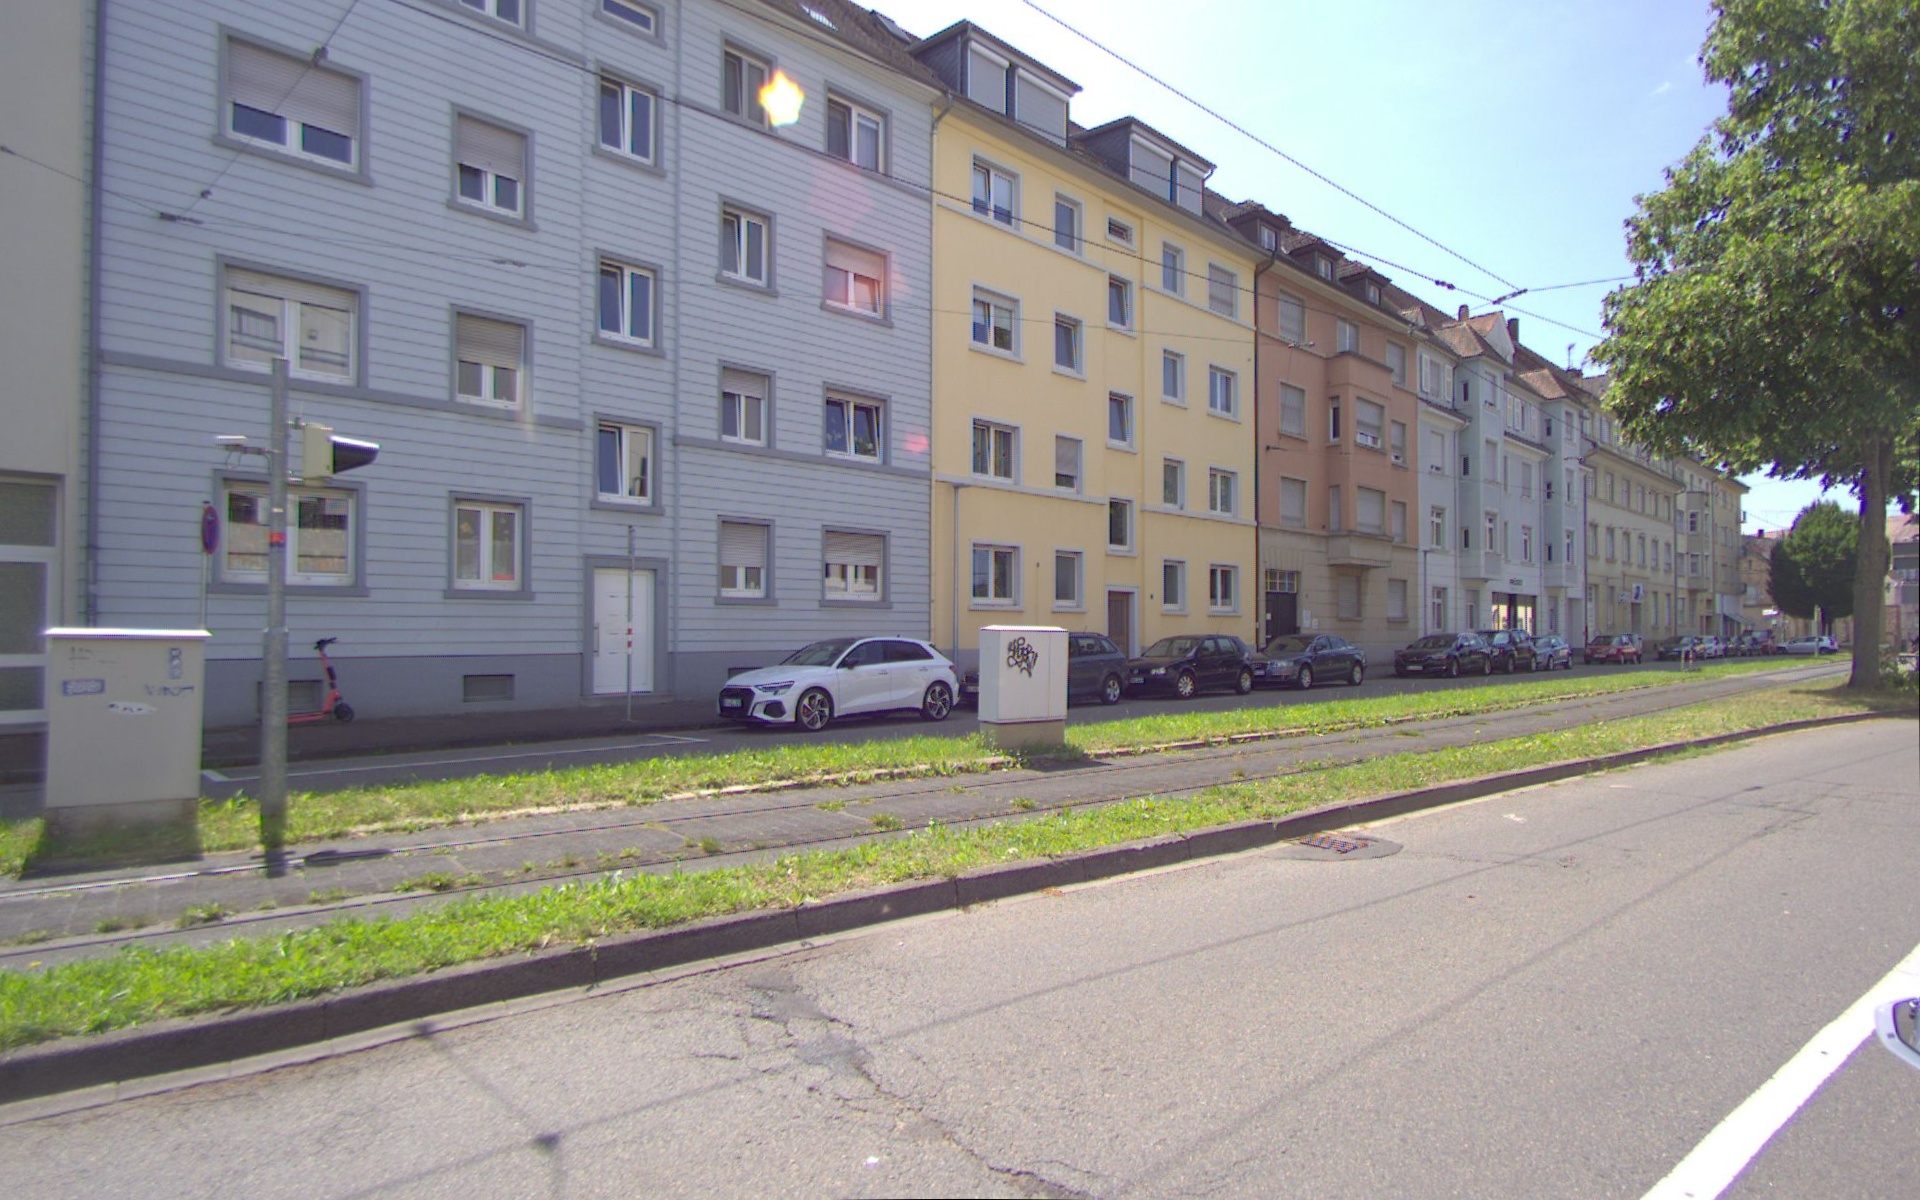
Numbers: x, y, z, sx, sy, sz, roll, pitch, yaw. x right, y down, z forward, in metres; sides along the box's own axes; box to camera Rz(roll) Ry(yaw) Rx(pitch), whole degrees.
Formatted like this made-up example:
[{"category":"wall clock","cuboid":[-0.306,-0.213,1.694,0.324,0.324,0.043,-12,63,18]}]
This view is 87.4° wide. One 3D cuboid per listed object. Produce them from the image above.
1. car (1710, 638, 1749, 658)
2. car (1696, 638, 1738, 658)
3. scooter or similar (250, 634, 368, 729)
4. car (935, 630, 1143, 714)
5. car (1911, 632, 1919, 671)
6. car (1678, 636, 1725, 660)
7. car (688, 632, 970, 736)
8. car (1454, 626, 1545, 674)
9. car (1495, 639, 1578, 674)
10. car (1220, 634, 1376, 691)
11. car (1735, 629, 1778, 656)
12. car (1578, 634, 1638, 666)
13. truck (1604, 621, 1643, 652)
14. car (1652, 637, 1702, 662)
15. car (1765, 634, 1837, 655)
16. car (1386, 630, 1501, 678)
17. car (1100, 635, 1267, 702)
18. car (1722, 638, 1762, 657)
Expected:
[{"category":"car","cuboid":[52.929,3.284,69.083,3.561,1.294,1.587,2,-4,-43]},{"category":"car","cuboid":[49.726,3.152,65.989,3.266,1.294,1.671,2,-4,-43]},{"category":"scooter or similar","cuboid":[-9.184,1.118,14.184,1.311,1.239,0.632,0,0,-43]},{"category":"car","cuboid":[1.697,1.396,20.482,1.908,1.524,4.299,-3,-3,45]},{"category":"car","cuboid":[40.549,2.118,41.493,1.791,1.512,3.975,-1,-1,44]},{"category":"car","cuboid":[46.257,2.994,62.623,3.830,1.408,1.671,2,-4,-43]},{"category":"car","cuboid":[-2.037,1.308,16.512,1.909,1.470,4.349,-4,-5,45]},{"category":"car","cuboid":[20.429,1.897,37.978,4.114,1.707,1.819,2,-4,-43]},{"category":"car","cuboid":[23.697,2.292,41.241,4.221,1.374,1.790,2,-4,-43]},{"category":"car","cuboid":[9.262,1.659,27.294,4.827,1.416,1.910,2,-4,-42]},{"category":"car","cuboid":[59.905,3.225,75.548,4.738,1.936,1.836,2,-4,-43]},{"category":"car","cuboid":[31.299,2.400,48.487,3.600,1.470,1.557,2,-4,-43]},{"category":"truck","cuboid":[34.137,1.891,51.639,2.577,1.514,1.115,2,-4,-44]},{"category":"car","cuboid":[41.985,2.885,58.795,3.830,1.378,1.671,2,-4,-43]},{"category":"car","cuboid":[65.374,3.455,78.129,4.159,1.524,1.992,-3,-4,44]},{"category":"car","cuboid":[16.520,1.809,34.185,4.829,1.510,1.910,2,-4,-43]},{"category":"car","cuboid":[5.307,1.552,23.586,4.113,1.418,1.814,2,-3,-43]},{"category":"car","cuboid":[56.171,3.427,72.122,4.234,1.294,1.626,2,-4,-43]}]
